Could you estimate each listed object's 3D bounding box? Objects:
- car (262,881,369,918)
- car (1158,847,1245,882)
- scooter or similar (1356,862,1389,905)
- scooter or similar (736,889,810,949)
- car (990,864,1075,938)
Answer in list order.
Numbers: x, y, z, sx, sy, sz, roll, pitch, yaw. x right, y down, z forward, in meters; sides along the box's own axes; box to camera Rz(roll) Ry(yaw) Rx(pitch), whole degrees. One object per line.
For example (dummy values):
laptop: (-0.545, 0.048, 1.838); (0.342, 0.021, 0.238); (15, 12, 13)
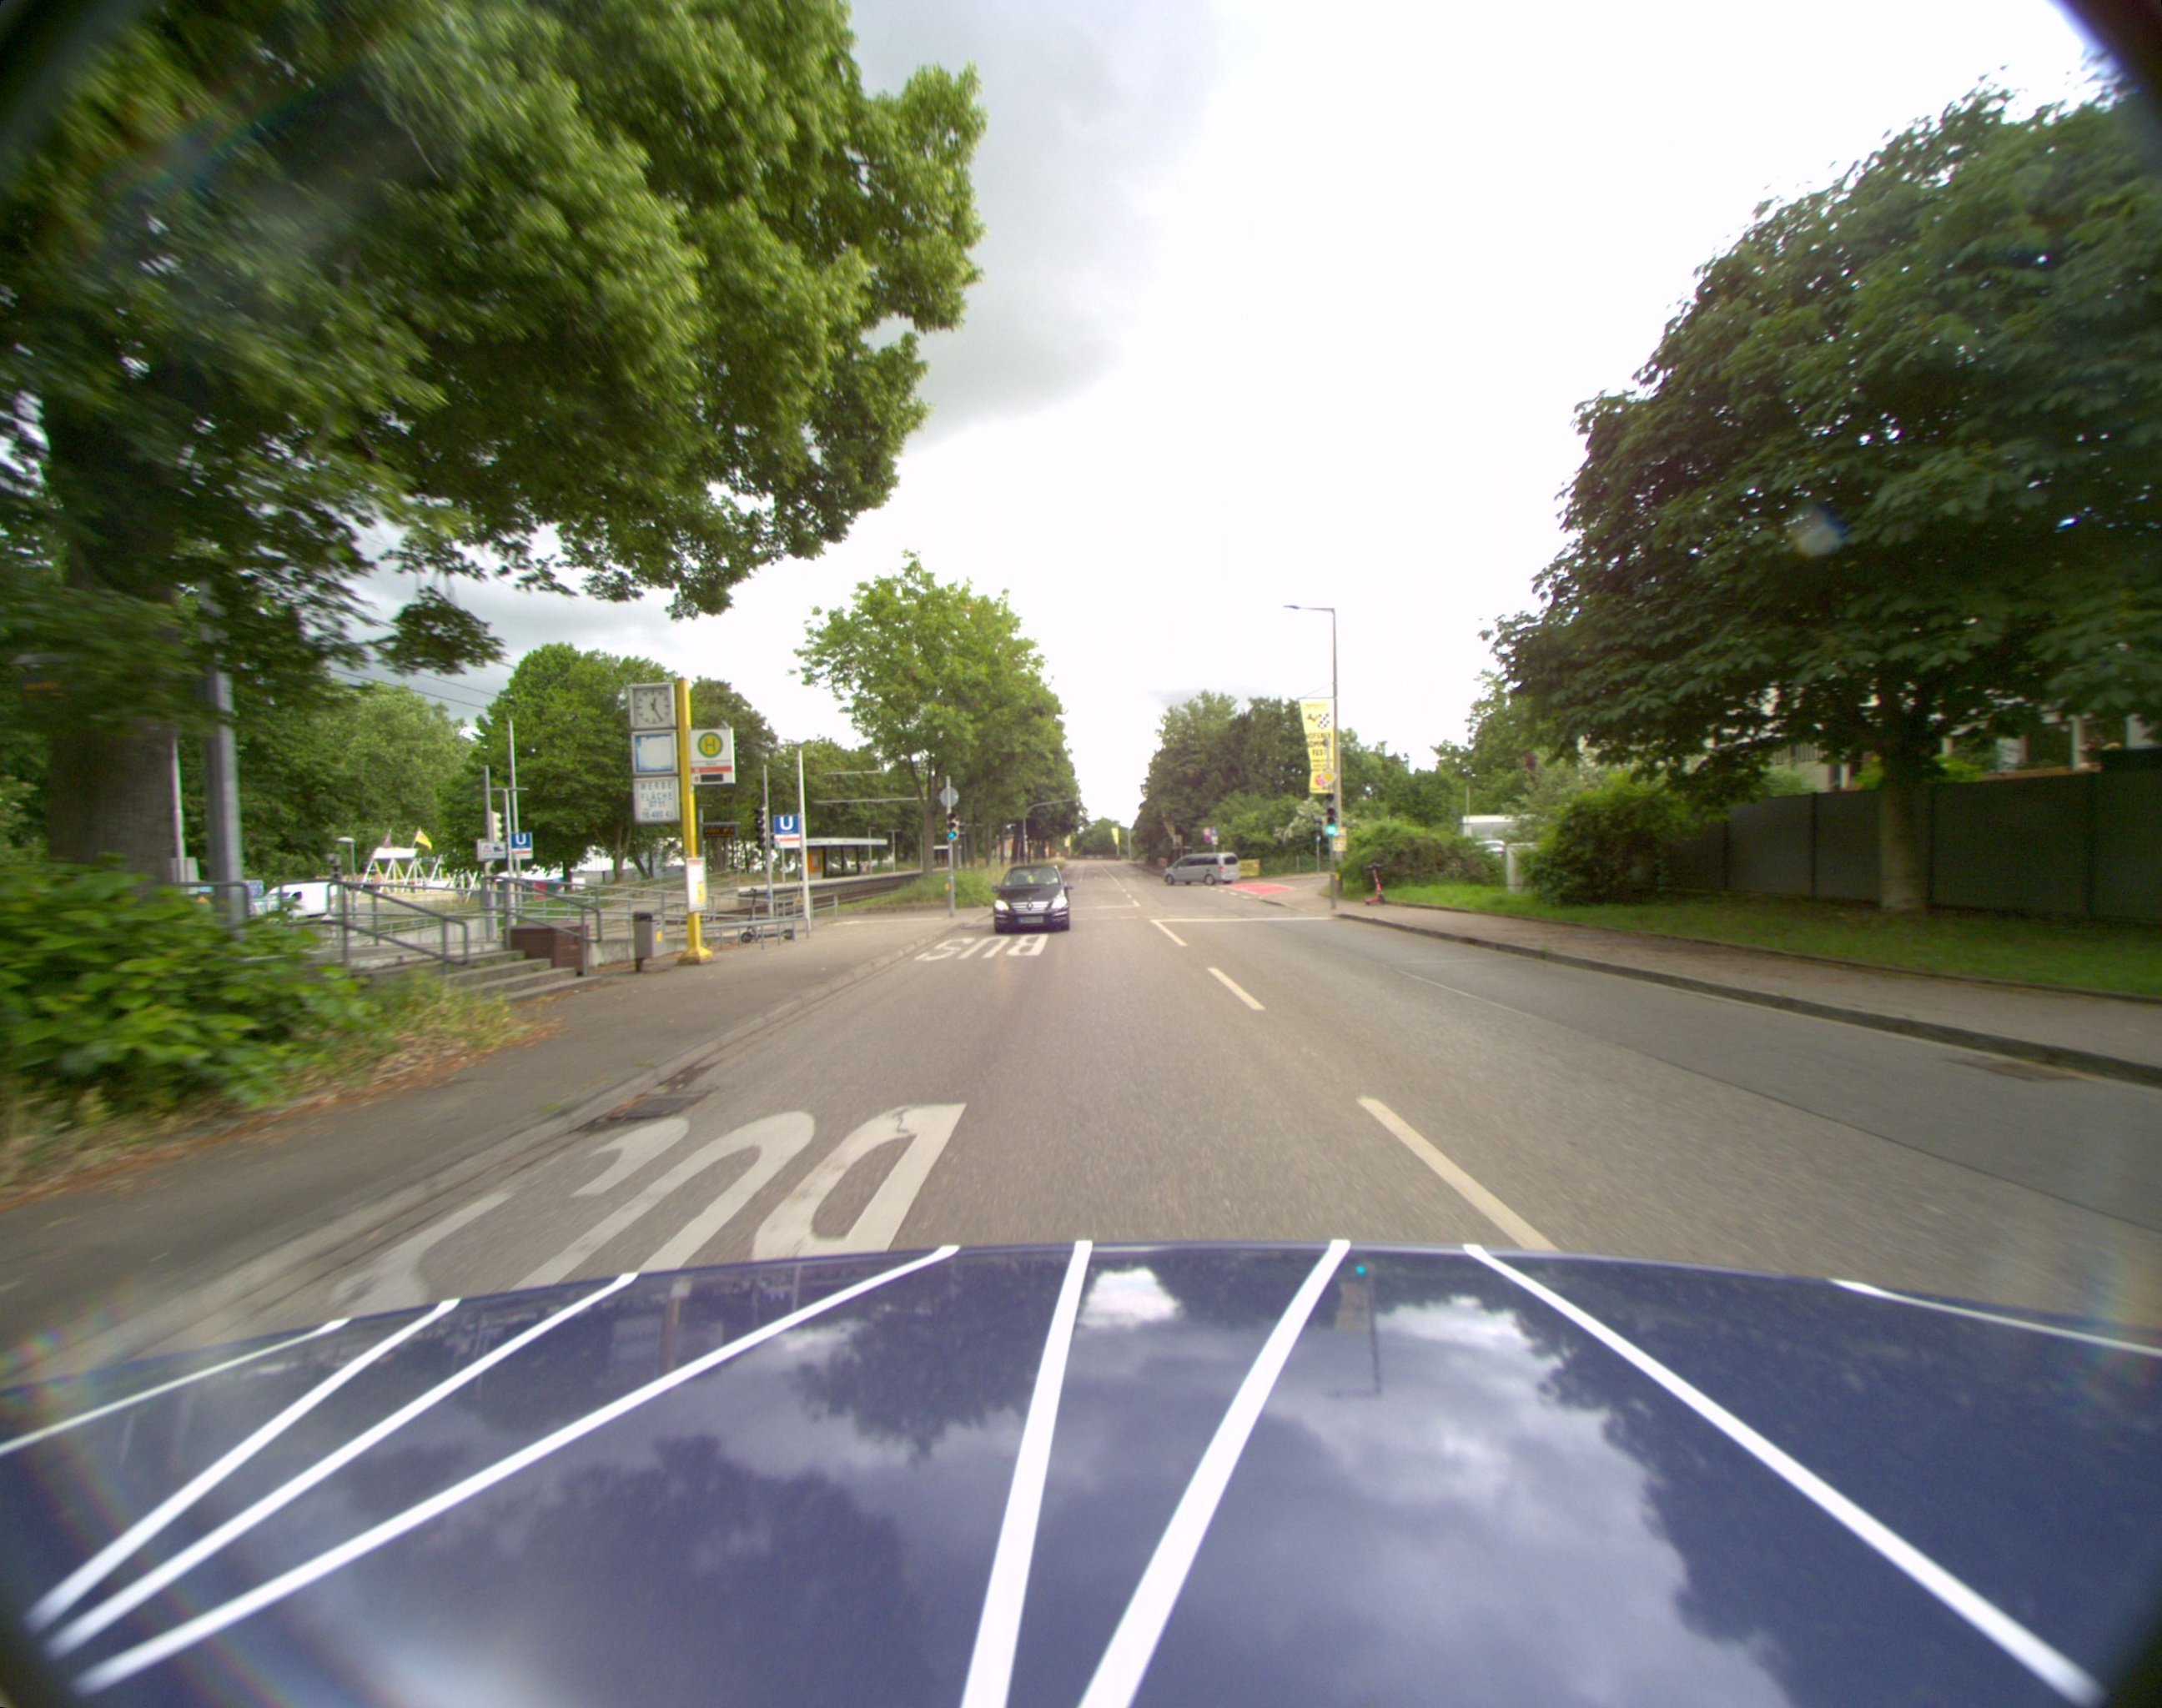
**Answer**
car: (-57.553, 3.364, 57.322); (1.998, 2.369, 5.808); (-2, 0, 1)
car: (7.518, 0.693, 47.774); (5.141, 1.916, 1.956); (-3, 0, 44)
scooter or similar: (8.943, 0.897, 23.380); (0.463, 1.251, 1.426); (-2, 0, 2)
scooter or similar: (-6.943, 1.449, 17.169); (1.459, 1.235, 0.484); (-3, 0, -20)
car: (-1.110, 1.074, 19.020); (1.751, 1.556, 4.075); (-1, 0, 1)
